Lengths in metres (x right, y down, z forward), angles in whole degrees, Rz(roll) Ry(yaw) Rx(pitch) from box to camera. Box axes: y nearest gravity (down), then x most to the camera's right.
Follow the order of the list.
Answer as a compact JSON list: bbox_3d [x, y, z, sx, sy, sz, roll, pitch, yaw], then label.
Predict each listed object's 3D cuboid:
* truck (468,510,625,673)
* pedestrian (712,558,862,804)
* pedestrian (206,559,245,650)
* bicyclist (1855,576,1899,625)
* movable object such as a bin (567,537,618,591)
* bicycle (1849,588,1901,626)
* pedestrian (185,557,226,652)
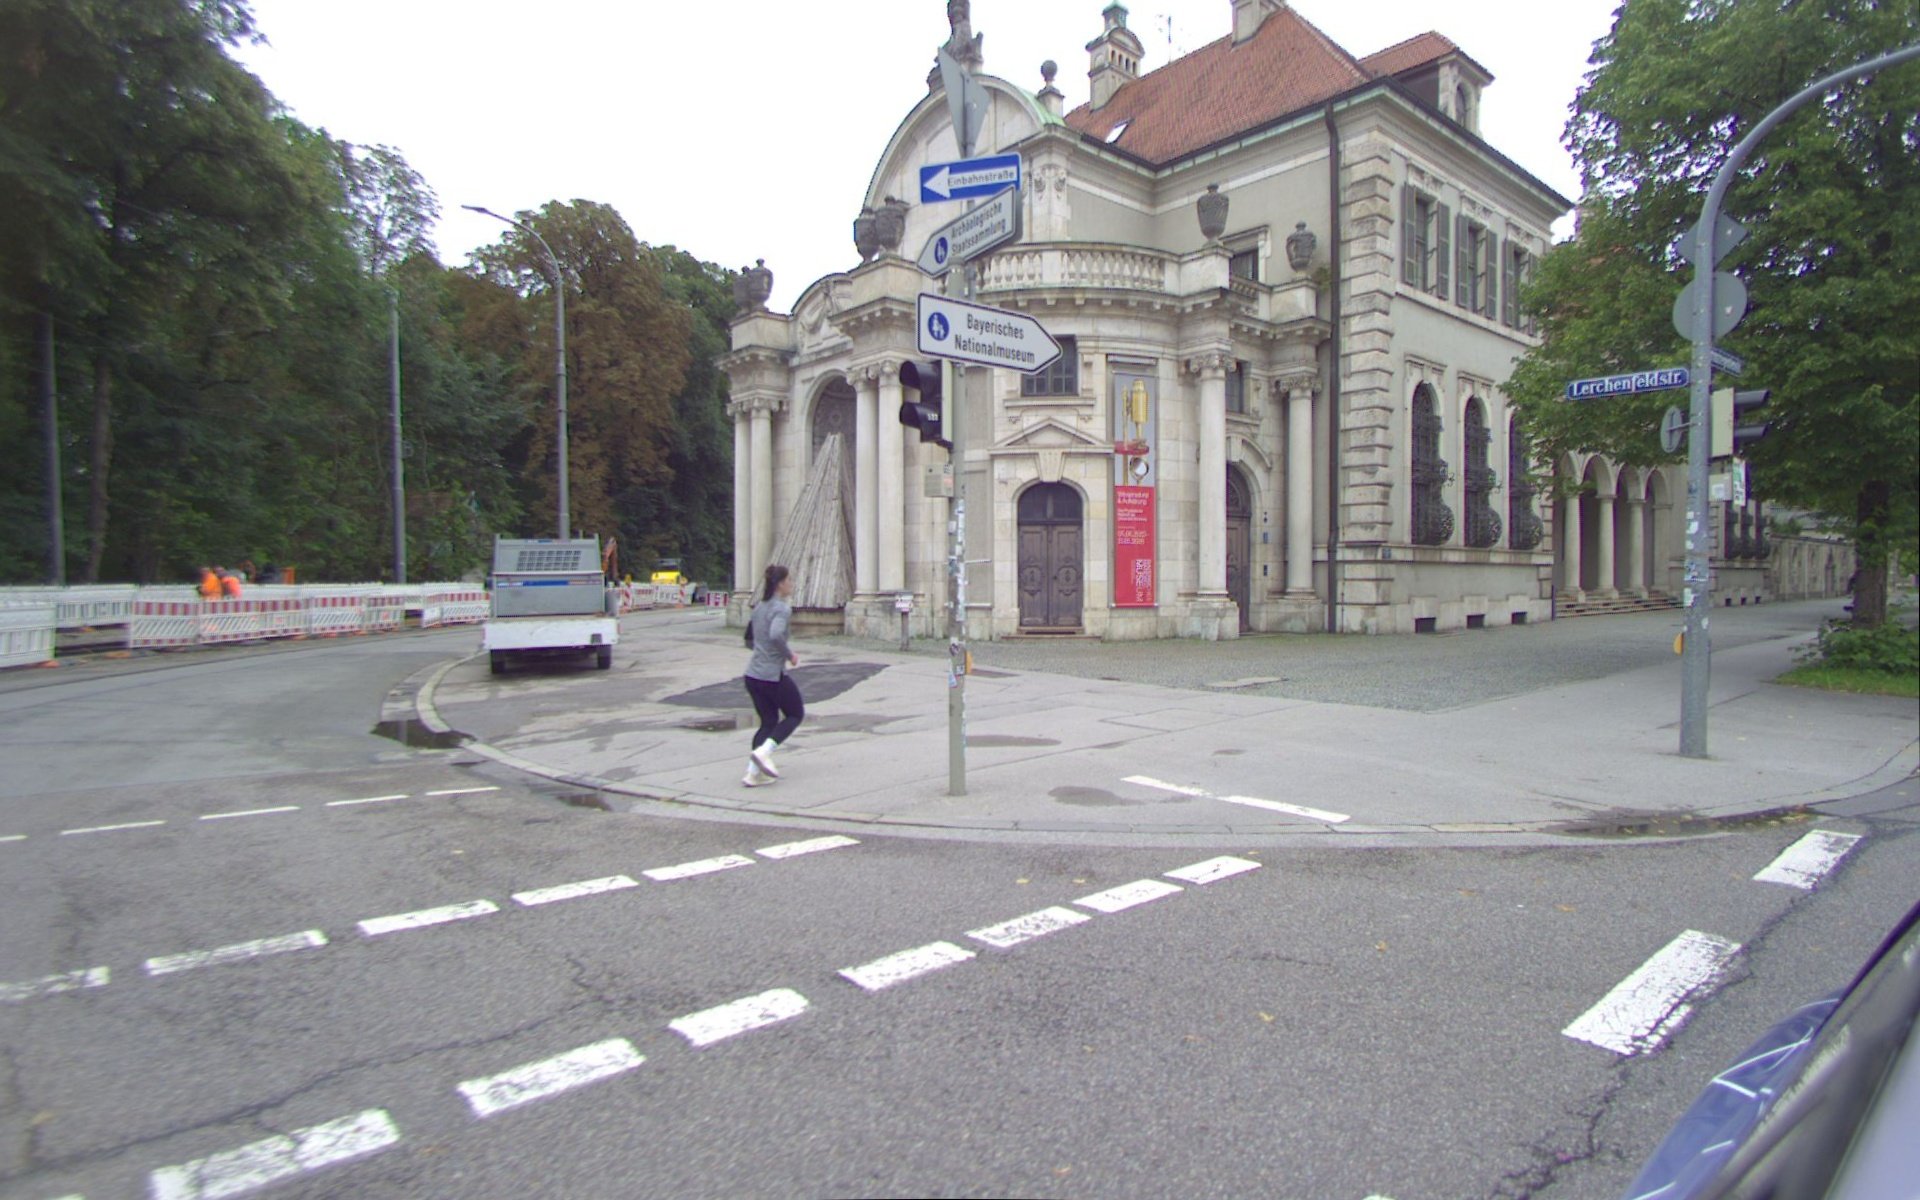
[{"bbox_3d":[-7.720,-0.151,18.825,2.247,2.526,5.946,-2,0,-23],"label":"truck"},{"bbox_3d":[-1.375,0.592,7.949,1.045,1.787,0.776,-2,0,-15],"label":"pedestrian"},{"bbox_3d":[-17.703,0.099,24.394,0.551,2.136,0.690,-1,0,-19],"label":"pedestrian"},{"bbox_3d":[25.931,0.010,28.617,0.878,1.329,0.807,-2,0,-41],"label":"bicyclist"},{"bbox_3d":[-16.981,-1.622,46.870,1.294,2.342,3.778,-2,0,-6],"label":"movable object such as a bin"},{"bbox_3d":[25.879,0.191,28.607,2.022,1.019,0.829,-2,0,-41],"label":"bicycle"},{"bbox_3d":[-17.308,0.094,23.221,0.551,2.136,0.690,-1,0,-21],"label":"pedestrian"}]
